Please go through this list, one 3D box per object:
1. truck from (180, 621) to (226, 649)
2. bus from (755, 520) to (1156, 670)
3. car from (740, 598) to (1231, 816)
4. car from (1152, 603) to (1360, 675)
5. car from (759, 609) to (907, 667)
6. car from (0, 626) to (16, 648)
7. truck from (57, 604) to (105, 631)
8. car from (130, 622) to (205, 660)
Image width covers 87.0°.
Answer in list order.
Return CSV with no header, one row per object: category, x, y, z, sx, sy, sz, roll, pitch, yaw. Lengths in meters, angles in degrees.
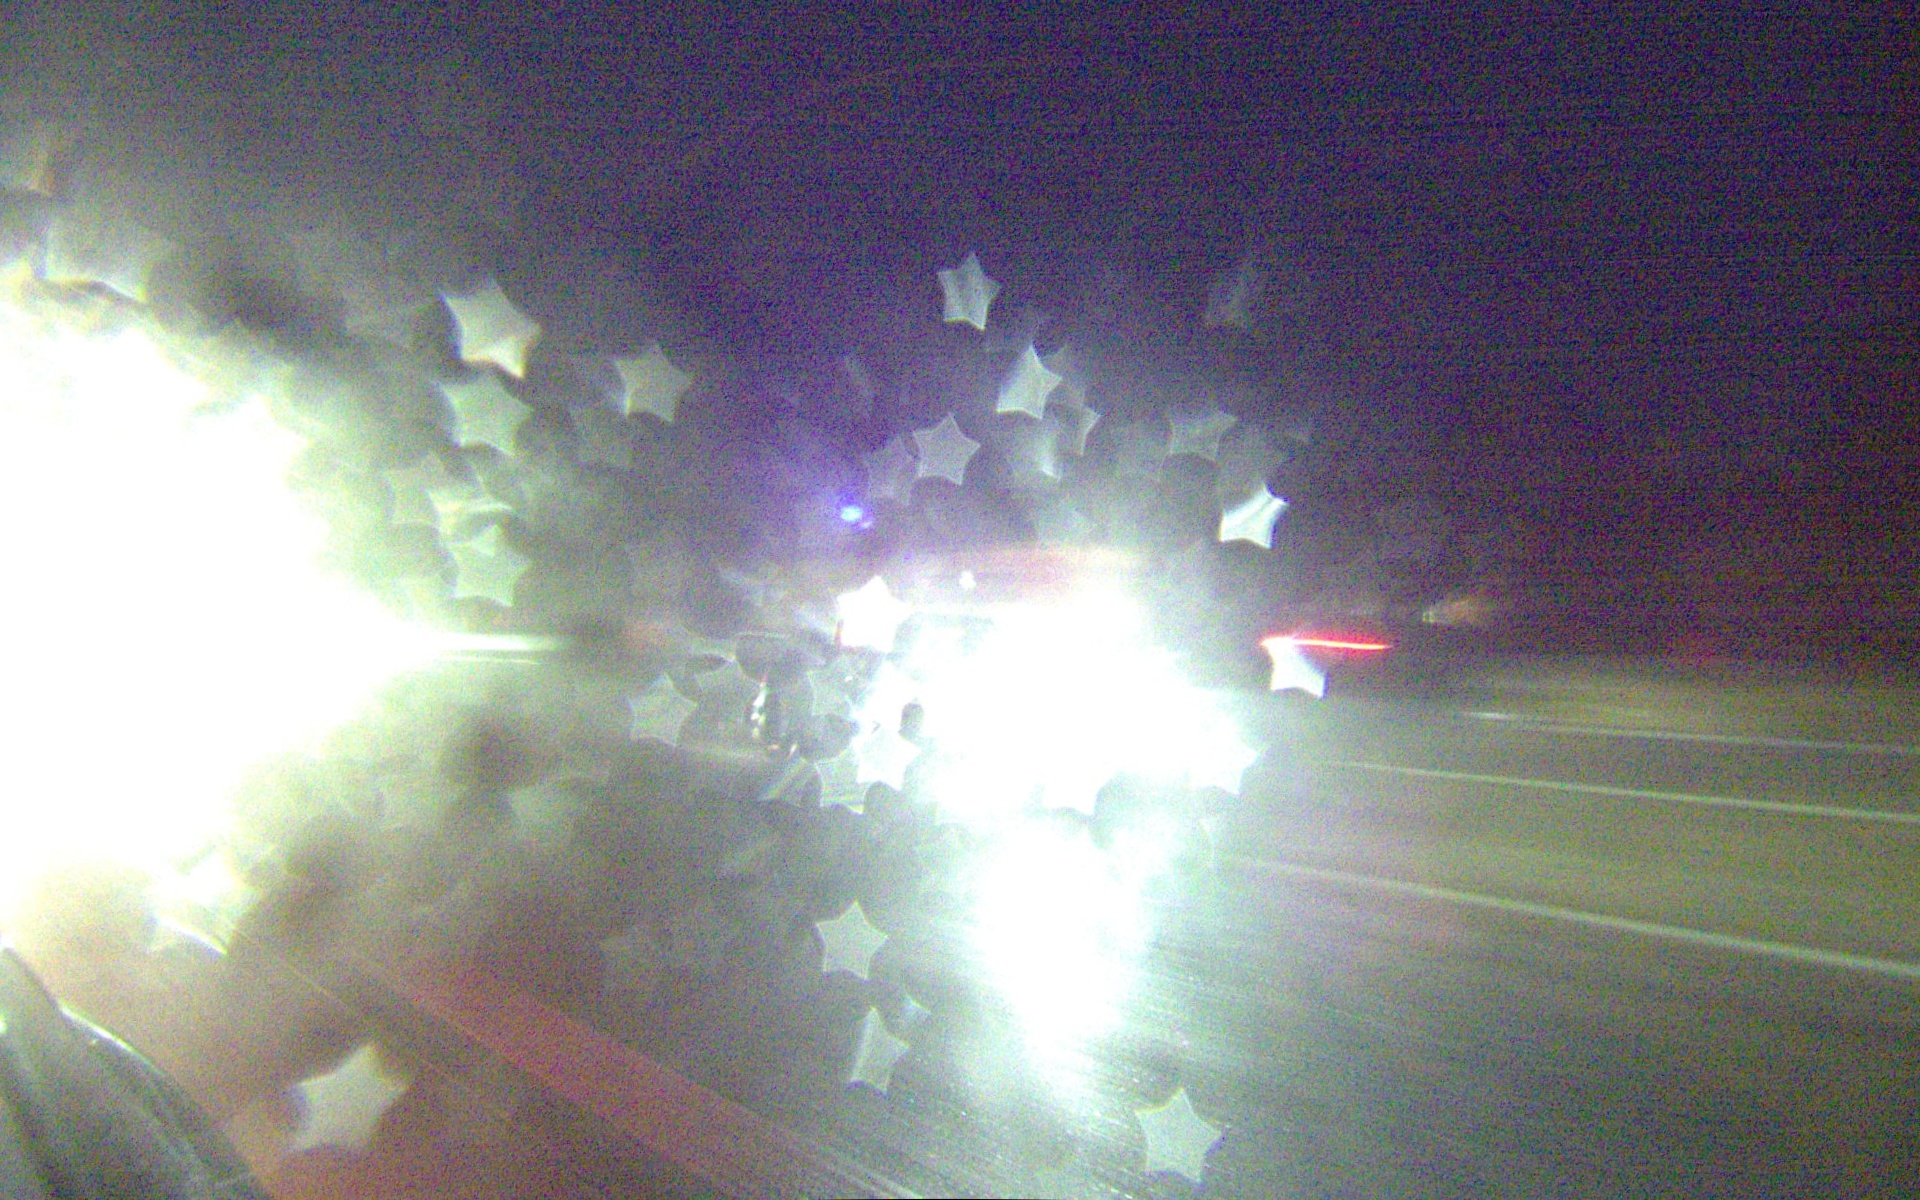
truck,-69.040,3.157,92.279,6.435,2.365,1.973,-1,0,41
bus,-1.034,-0.068,37.299,17.004,4.524,3.042,-1,0,41
car,0.082,0.748,8.920,3.999,1.452,1.973,-1,0,42
car,7.095,0.887,24.491,4.457,1.569,1.861,-1,0,41
car,-3.835,1.088,30.051,4.457,1.569,1.861,-1,0,41
car,-86.925,3.346,91.558,4.000,1.821,1.972,-1,0,43
truck,-134.565,2.698,154.847,17.175,3.917,3.462,-1,0,42
car,-36.649,1.862,46.781,4.587,1.572,1.972,-1,0,42
